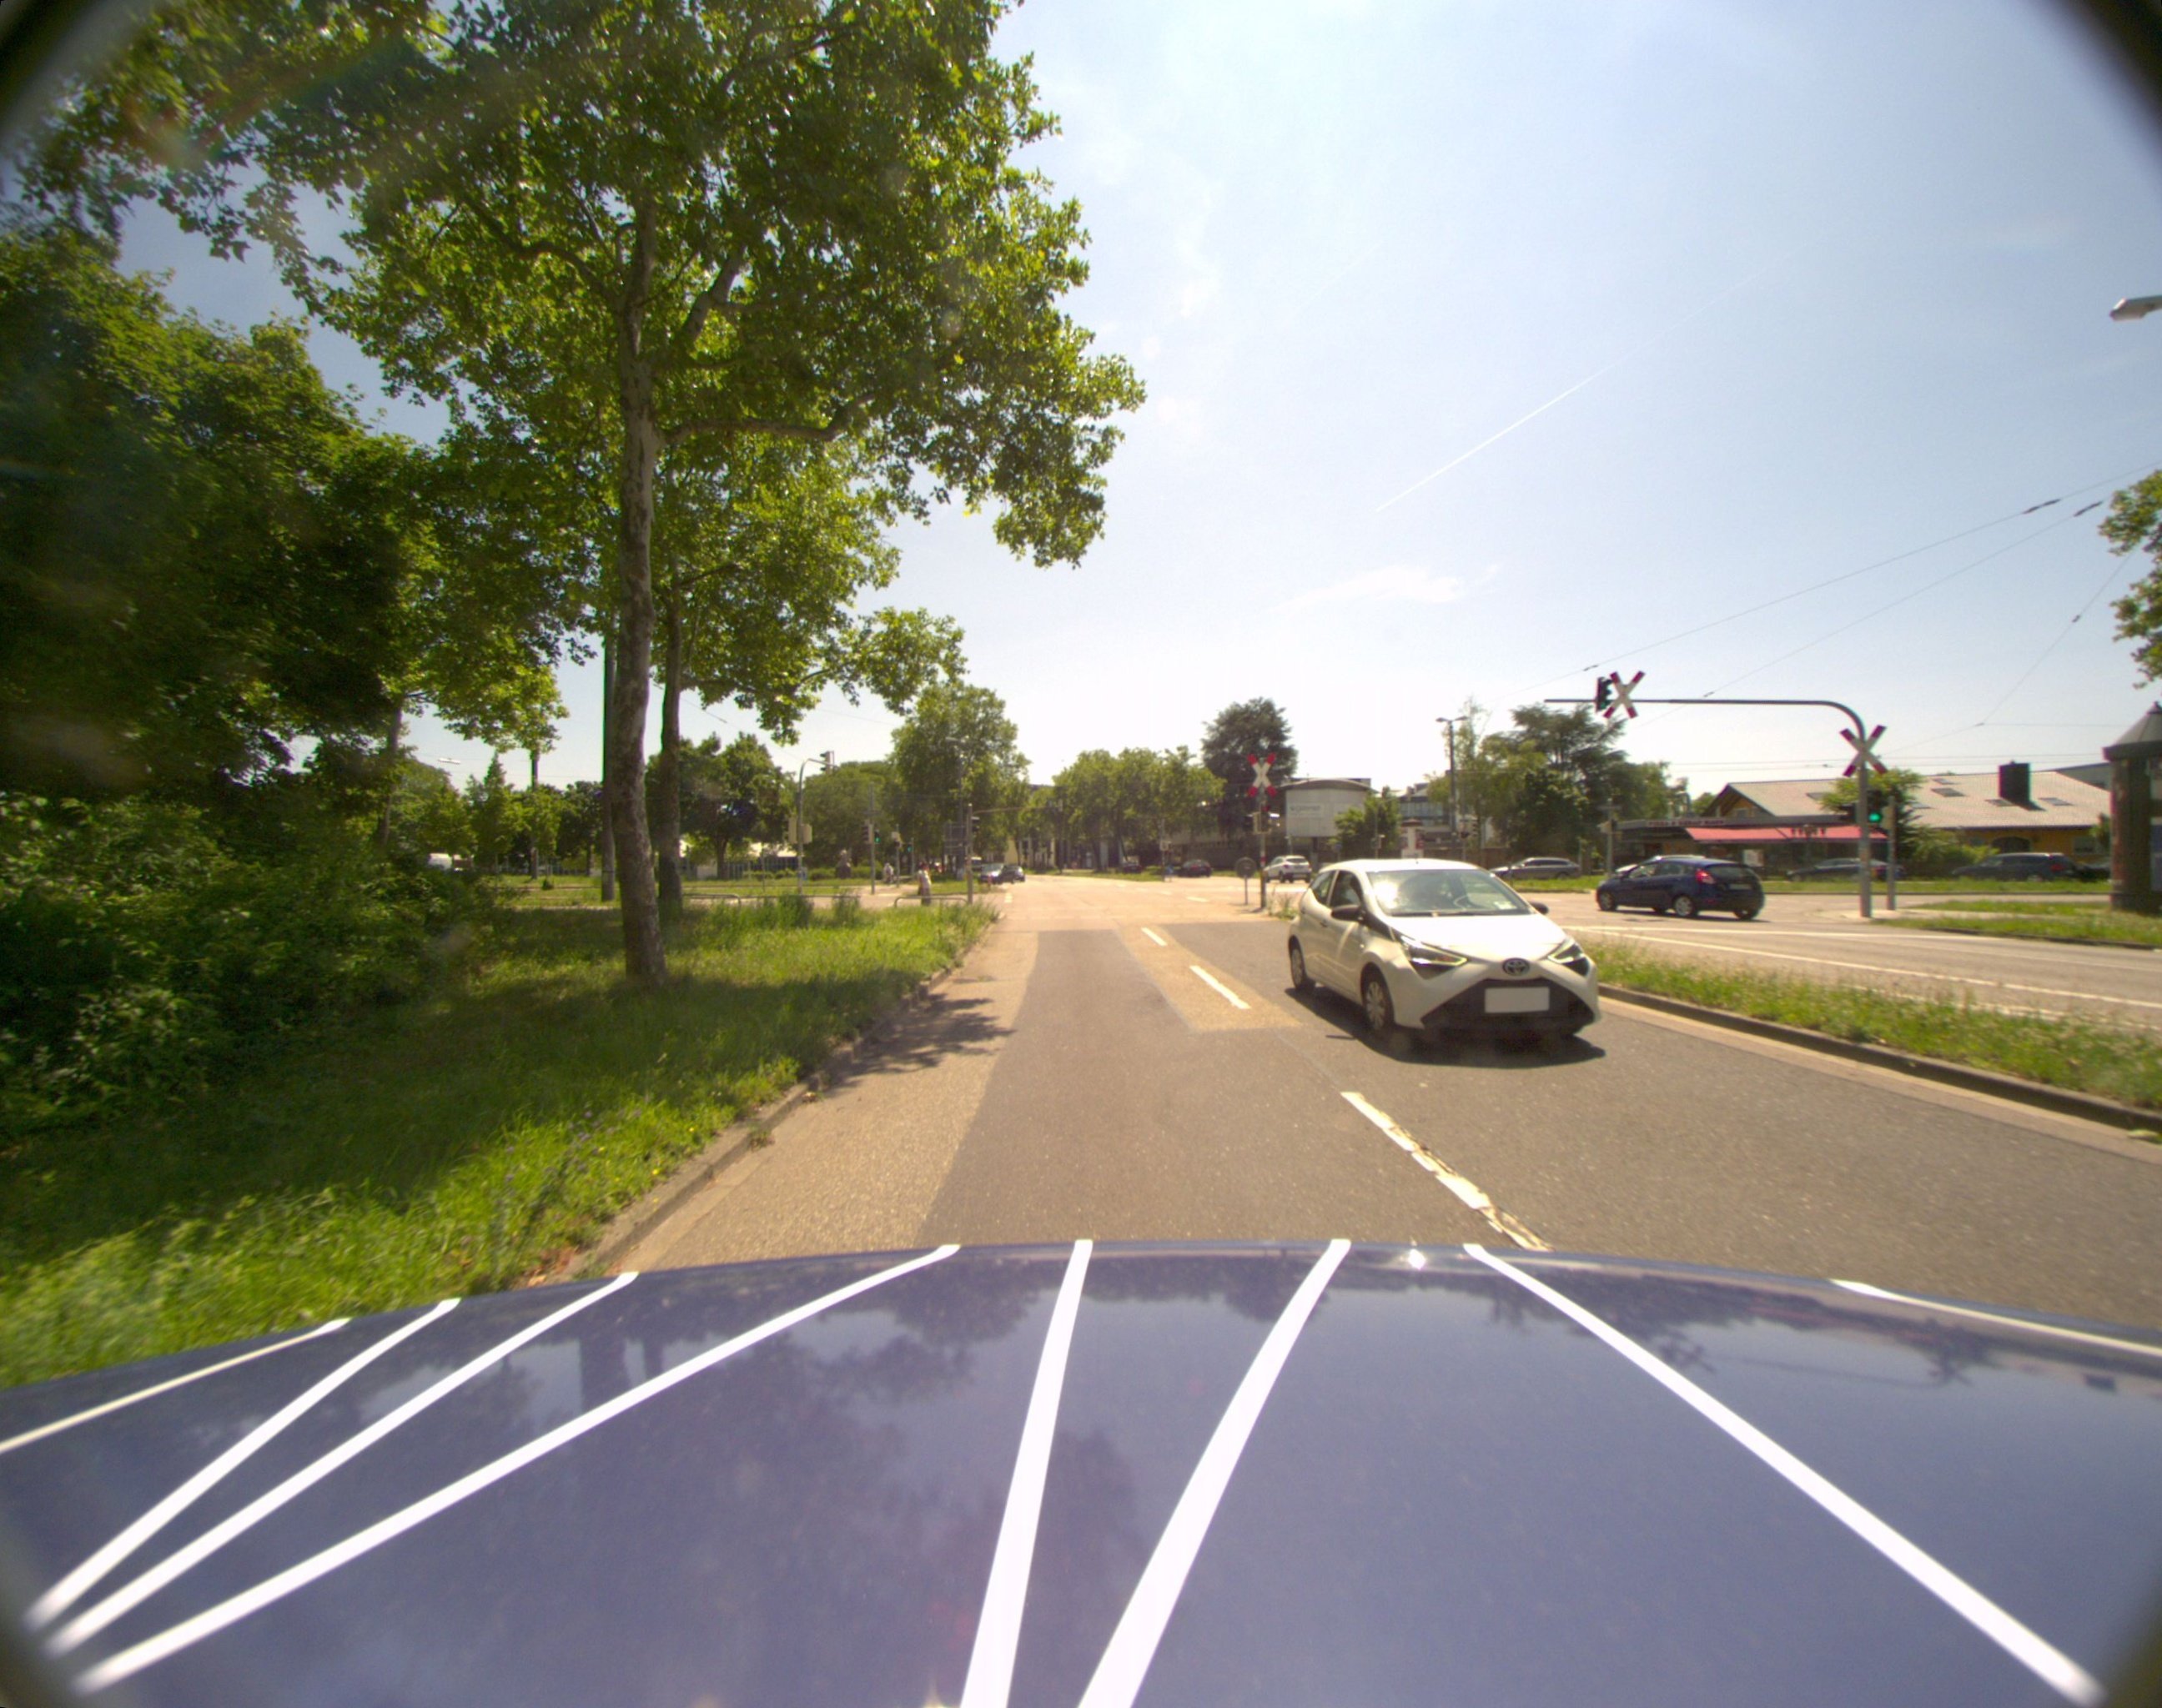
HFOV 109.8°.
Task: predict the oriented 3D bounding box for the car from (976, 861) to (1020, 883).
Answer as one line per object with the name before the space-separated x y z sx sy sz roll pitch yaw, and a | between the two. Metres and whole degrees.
car | -5.725 1.240 52.877 1.651 1.453 3.870 0 0 17

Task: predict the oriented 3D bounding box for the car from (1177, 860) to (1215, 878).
car | 9.719 1.249 64.603 1.955 1.431 4.743 0 0 -7

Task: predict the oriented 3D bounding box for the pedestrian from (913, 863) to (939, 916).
pedestrian | -4.381 1.003 21.461 0.554 1.475 0.630 0 0 4

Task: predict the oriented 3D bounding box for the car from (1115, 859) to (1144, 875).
car | 4.733 1.245 75.133 1.915 1.530 4.295 0 0 -10

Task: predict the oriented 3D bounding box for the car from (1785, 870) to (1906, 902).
car | 42.309 1.719 42.239 1.784 1.641 4.566 0 -1 -9

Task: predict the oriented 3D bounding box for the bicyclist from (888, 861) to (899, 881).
bicyclist | -12.622 1.108 51.098 0.601 1.331 0.666 0 0 -6

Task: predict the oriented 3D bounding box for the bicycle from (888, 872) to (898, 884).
bicycle | -12.635 1.623 51.085 0.465 0.759 1.667 0 -1 -6

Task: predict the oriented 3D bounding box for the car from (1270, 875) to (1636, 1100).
car | 3.066 0.988 7.152 1.623 1.437 3.652 -2 0 0

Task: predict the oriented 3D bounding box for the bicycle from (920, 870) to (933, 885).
bicycle | -9.882 1.509 48.782 0.589 0.890 1.811 0 0 -4

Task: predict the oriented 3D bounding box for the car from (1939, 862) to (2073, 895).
car | 48.916 1.257 40.314 1.784 1.641 4.191 0 -1 -9

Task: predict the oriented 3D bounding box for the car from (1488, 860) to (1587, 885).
car | 26.523 1.072 44.361 4.660 1.372 1.890 -1 0 19

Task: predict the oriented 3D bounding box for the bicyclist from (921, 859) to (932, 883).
bicyclist | -9.878 1.084 48.717 0.579 1.547 0.673 -1 0 -4

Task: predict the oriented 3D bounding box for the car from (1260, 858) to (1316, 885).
car | 12.528 1.044 46.340 1.793 1.605 4.402 0 -1 -6

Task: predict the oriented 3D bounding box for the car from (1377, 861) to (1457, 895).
car | 14.312 0.983 32.566 1.810 1.353 3.552 0 0 -1

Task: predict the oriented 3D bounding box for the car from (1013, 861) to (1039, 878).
car | -4.537 1.245 63.138 1.791 1.325 3.743 0 0 2

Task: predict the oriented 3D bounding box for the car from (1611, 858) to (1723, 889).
car | 32.144 1.052 41.852 4.450 1.595 2.220 -1 -1 23

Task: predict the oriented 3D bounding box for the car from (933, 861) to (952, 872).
car | -23.622 2.165 129.567 2.003 1.827 3.991 -1 0 -27

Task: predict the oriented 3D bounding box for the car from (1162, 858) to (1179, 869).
car | 14.632 1.516 124.301 1.821 1.637 3.524 -2 0 -10

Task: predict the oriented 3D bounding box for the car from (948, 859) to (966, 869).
car | -19.757 1.598 120.890 2.002 1.608 3.993 0 0 -20

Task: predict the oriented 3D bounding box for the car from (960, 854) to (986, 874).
car | -15.096 1.373 105.704 2.921 2.638 6.358 0 0 -15

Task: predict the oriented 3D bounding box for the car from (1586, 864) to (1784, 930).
car | 14.952 0.997 19.103 1.725 1.447 3.867 0 0 -4

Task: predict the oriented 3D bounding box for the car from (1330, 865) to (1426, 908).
car | 10.793 1.126 27.956 1.741 1.387 4.177 1 0 -3
